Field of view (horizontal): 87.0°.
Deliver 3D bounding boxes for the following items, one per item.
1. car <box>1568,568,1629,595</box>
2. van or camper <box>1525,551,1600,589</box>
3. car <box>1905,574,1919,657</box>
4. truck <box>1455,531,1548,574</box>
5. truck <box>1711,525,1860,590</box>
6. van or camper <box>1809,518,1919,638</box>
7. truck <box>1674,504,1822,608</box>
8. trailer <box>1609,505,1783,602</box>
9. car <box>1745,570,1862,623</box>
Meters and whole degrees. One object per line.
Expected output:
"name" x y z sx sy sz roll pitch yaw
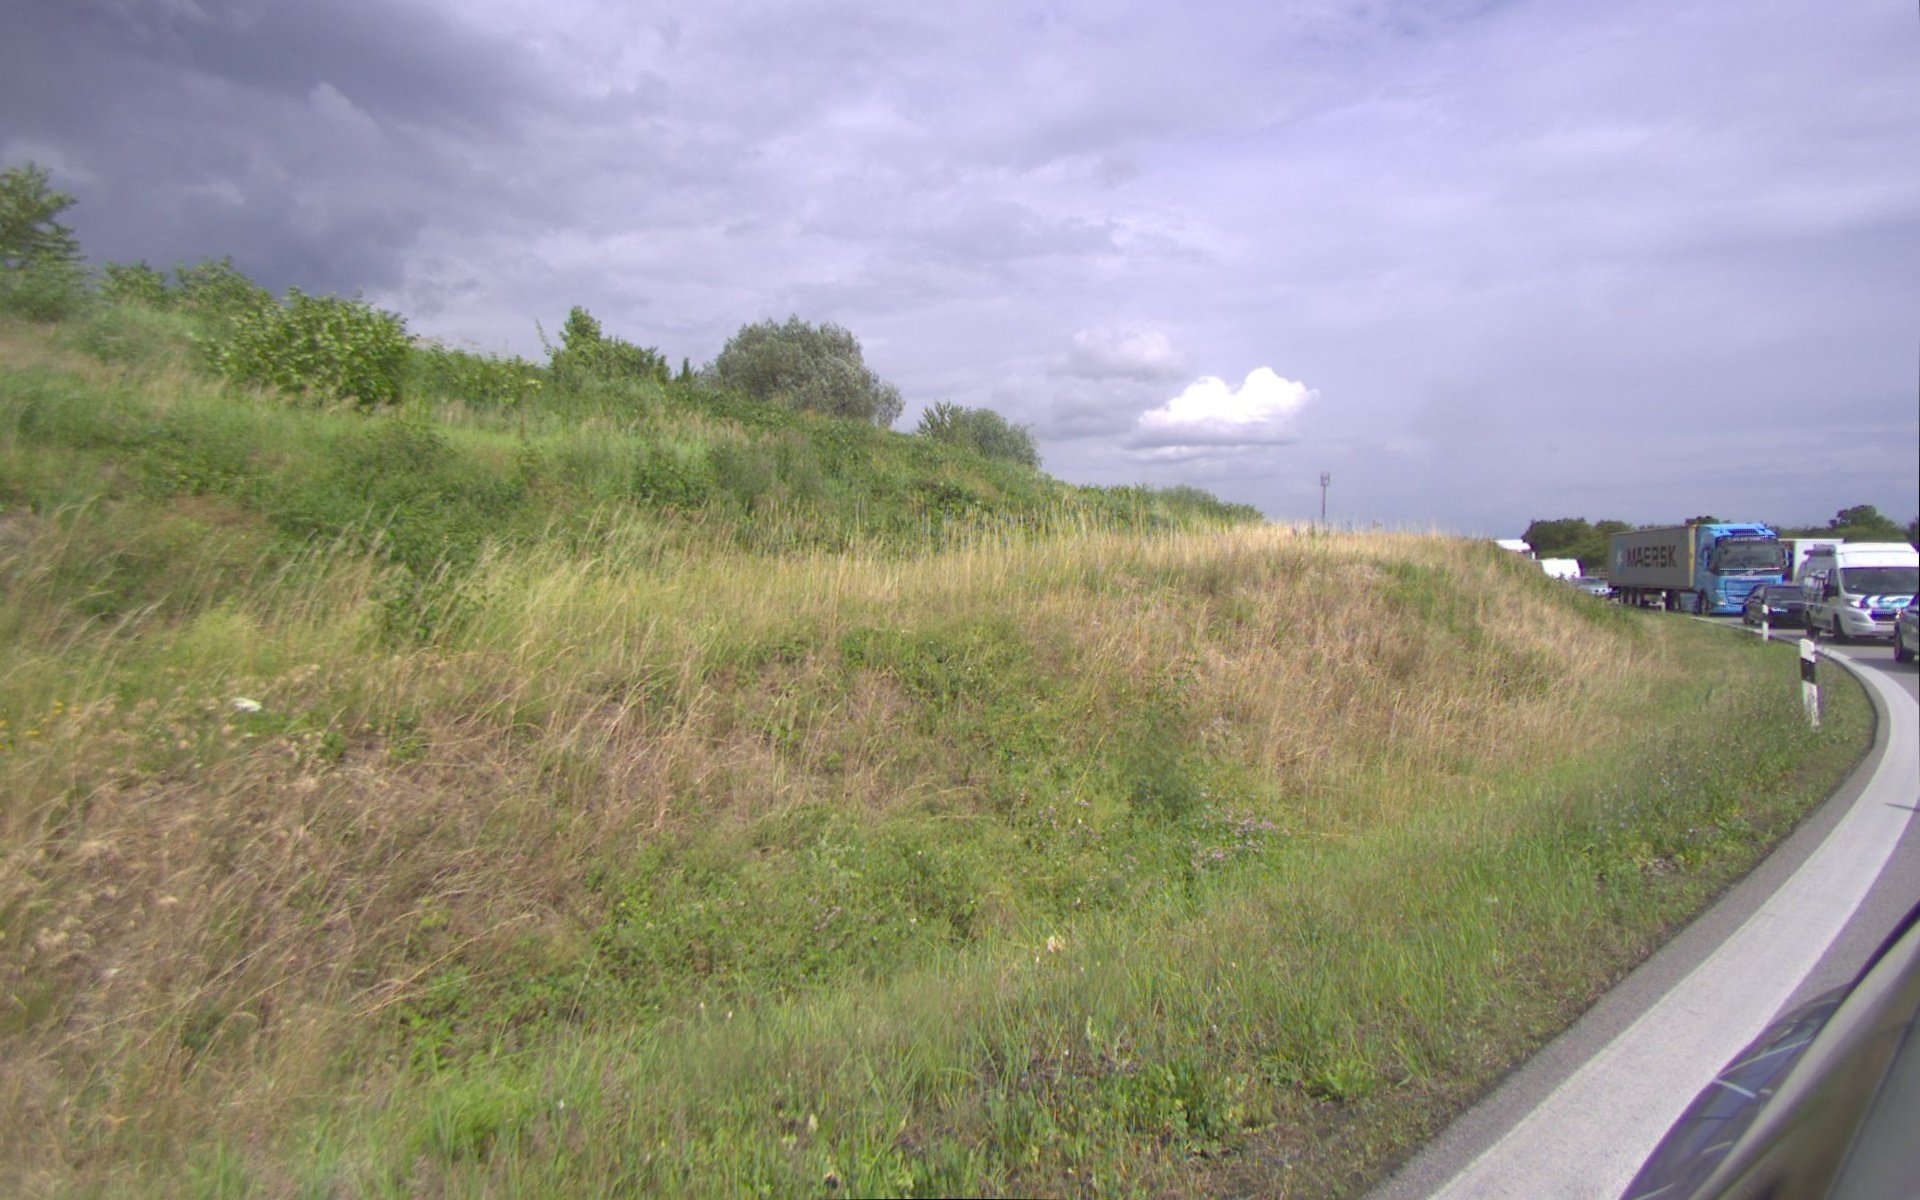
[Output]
"car" 39.228 -1.180 62.295 1.970 1.548 3.986 0 3 13
"van or camper" 40.575 -2.068 68.373 2.513 2.237 5.697 -1 4 11
"car" 19.263 0.338 18.903 1.833 1.615 4.119 1 2 36
"truck" 43.919 -3.765 82.573 3.073 3.279 11.137 0 2 8
"truck" 49.943 -2.546 61.645 2.845 3.631 8.927 -1 2 8
"van or camper" 24.877 -0.593 27.214 2.381 2.945 5.655 0 1 32
"truck" 34.122 -1.818 44.159 3.141 4.124 6.603 -1 1 20
"trailer" 36.199 -2.118 50.495 3.231 4.213 11.953 -1 1 17
"car" 28.929 -0.181 34.862 1.978 1.638 3.970 1 2 23
